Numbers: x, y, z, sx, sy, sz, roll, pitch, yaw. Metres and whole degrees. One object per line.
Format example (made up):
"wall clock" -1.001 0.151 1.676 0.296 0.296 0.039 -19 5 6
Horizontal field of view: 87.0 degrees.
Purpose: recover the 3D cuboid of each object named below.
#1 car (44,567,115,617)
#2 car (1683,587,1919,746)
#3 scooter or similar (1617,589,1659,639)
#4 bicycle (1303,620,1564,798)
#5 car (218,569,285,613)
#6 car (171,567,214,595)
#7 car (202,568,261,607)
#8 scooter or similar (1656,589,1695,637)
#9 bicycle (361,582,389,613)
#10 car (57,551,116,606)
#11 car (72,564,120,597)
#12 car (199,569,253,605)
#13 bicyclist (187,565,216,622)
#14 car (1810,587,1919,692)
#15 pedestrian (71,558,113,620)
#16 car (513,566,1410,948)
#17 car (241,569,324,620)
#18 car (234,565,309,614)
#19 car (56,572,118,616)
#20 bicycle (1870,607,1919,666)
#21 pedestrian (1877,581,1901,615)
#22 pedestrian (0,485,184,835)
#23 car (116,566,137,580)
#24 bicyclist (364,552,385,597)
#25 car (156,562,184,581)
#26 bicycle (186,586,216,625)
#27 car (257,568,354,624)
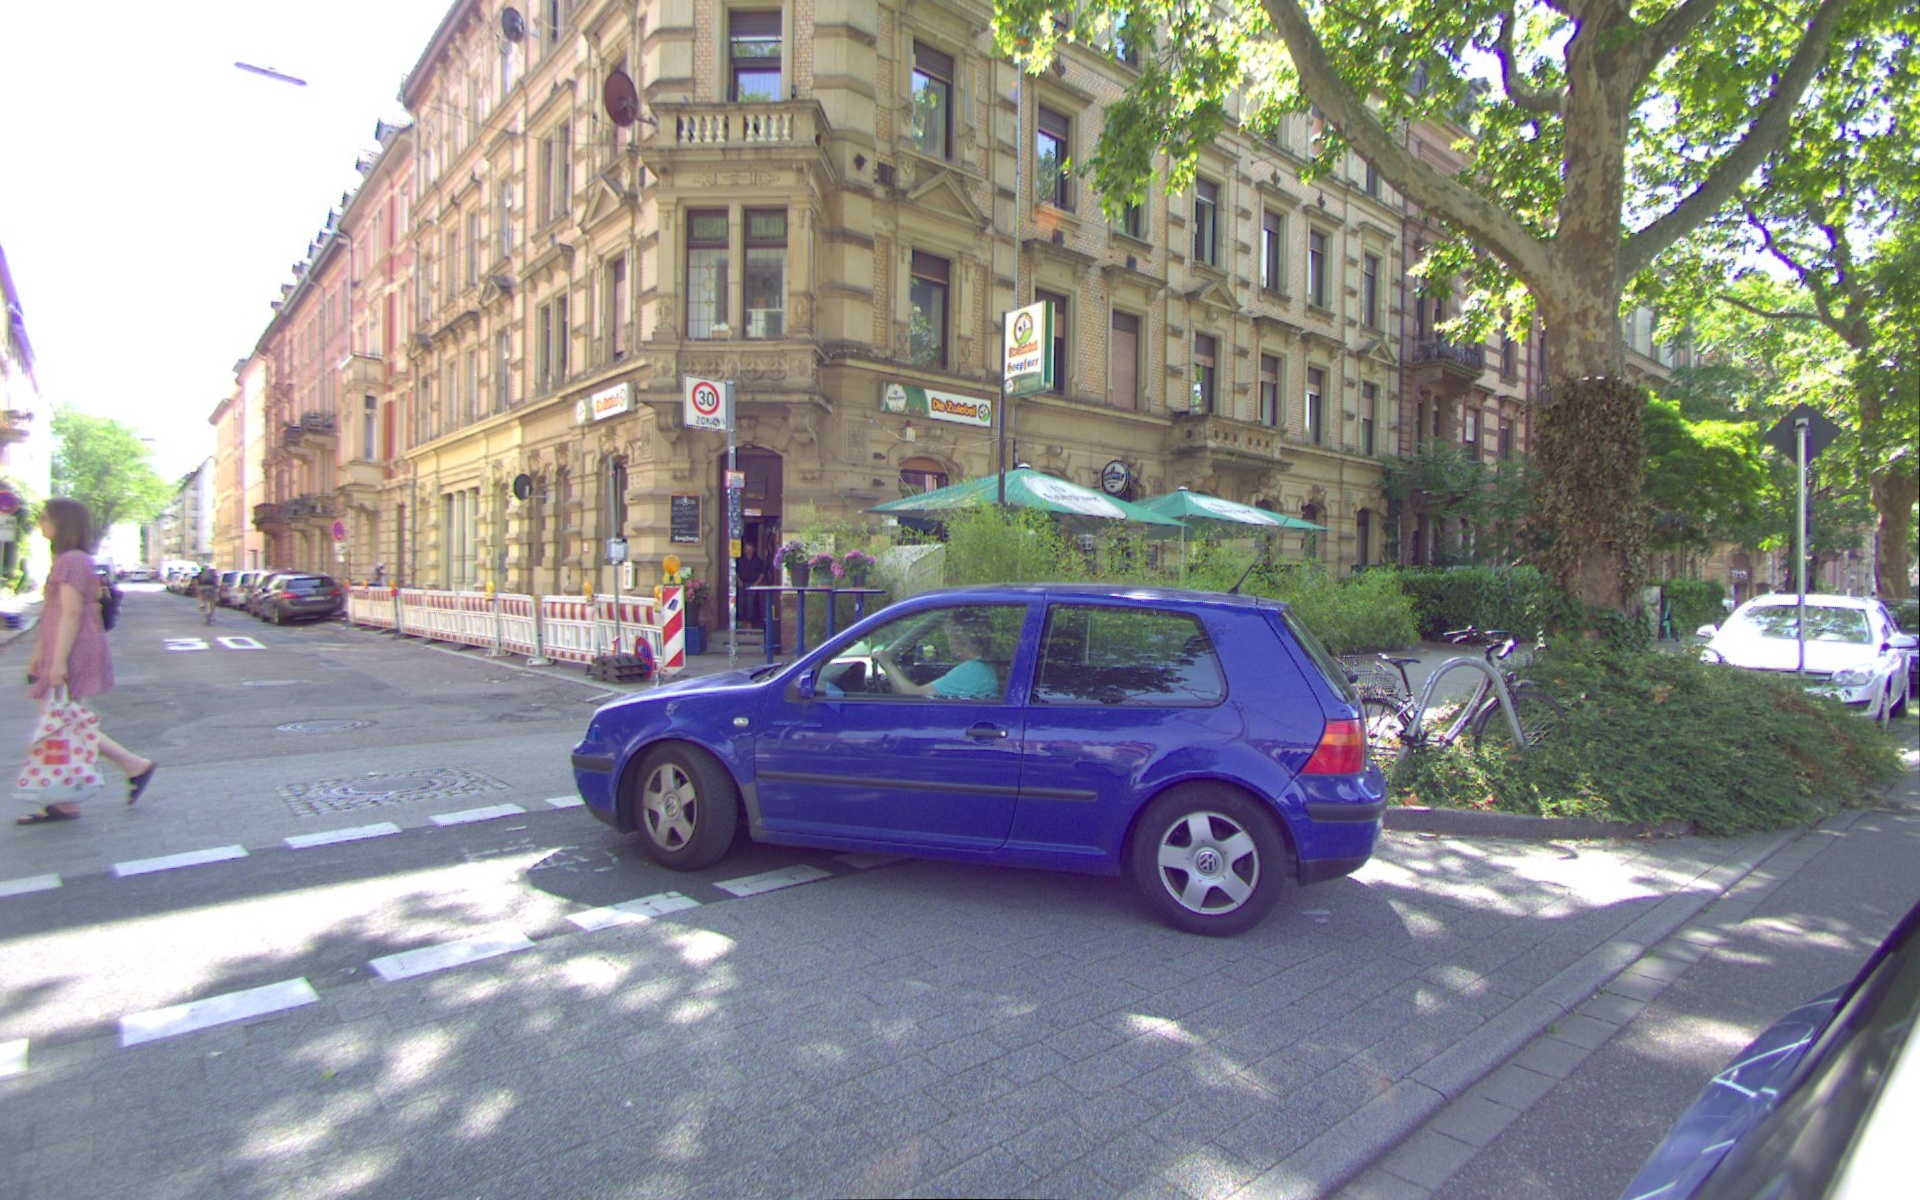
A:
"car" -28.993 -0.297 33.329 1.698 1.548 3.489 0 1 -41
"car" 10.272 0.627 12.148 4.418 1.527 1.835 -1 2 -44
"scooter or similar" 17.498 0.342 26.117 1.124 1.263 0.583 0 1 -40
"bicycle" 3.145 0.703 6.749 1.583 1.119 0.423 0 1 -8
"car" -30.327 -0.411 43.279 1.965 1.760 3.995 0 1 -41
"car" -49.302 -1.235 64.986 1.965 1.760 3.995 0 1 -41
"car" -34.442 -0.613 47.812 1.965 1.760 3.995 0 1 -41
"scooter or similar" 19.621 0.344 27.748 1.124 1.298 0.583 0 1 -39
"bicycle" -19.578 -0.093 33.860 0.530 0.991 1.306 0 1 -44
"car" -39.776 -0.984 46.161 1.879 2.403 4.243 0 1 -39
"car" -46.930 -1.055 55.021 1.879 1.731 4.158 0 1 -39
"car" -37.996 -0.699 52.373 1.965 1.760 3.995 0 1 -41
"bicyclist" -22.017 -0.196 29.370 0.614 1.643 0.693 0 1 -43
"car" 15.674 0.567 16.658 4.561 1.527 1.837 0 2 -40
"pedestrian" -26.061 -0.327 30.393 0.921 1.821 1.036 0 1 -44
"car" -0.005 0.568 5.326 4.034 1.427 1.880 1 1 15
"car" -23.651 -0.238 35.287 1.965 1.660 3.995 0 1 -41
"car" -26.650 -0.434 39.114 1.965 1.760 3.995 0 1 -41
"car" -32.540 -0.250 37.712 1.698 1.548 3.489 0 1 -42
"bicycle" 18.524 0.699 19.339 1.615 1.102 0.469 1 1 17
"pedestrian" 49.223 -0.109 53.626 0.951 1.740 0.796 0 1 -41
"pedestrian" -4.939 0.302 5.717 0.837 1.807 0.737 0 1 -41
"car" -104.769 -3.419 127.189 1.965 1.760 3.995 0 1 -41
"bicyclist" -19.594 -0.852 33.879 0.524 1.471 0.460 0 1 -45
"car" -73.979 -2.673 94.758 1.965 1.760 3.995 0 1 -41
"bicycle" -22.128 0.142 29.478 0.523 1.062 1.922 0 1 -42
"car" -19.735 -0.162 30.456 1.965 1.571 3.995 0 1 -41
